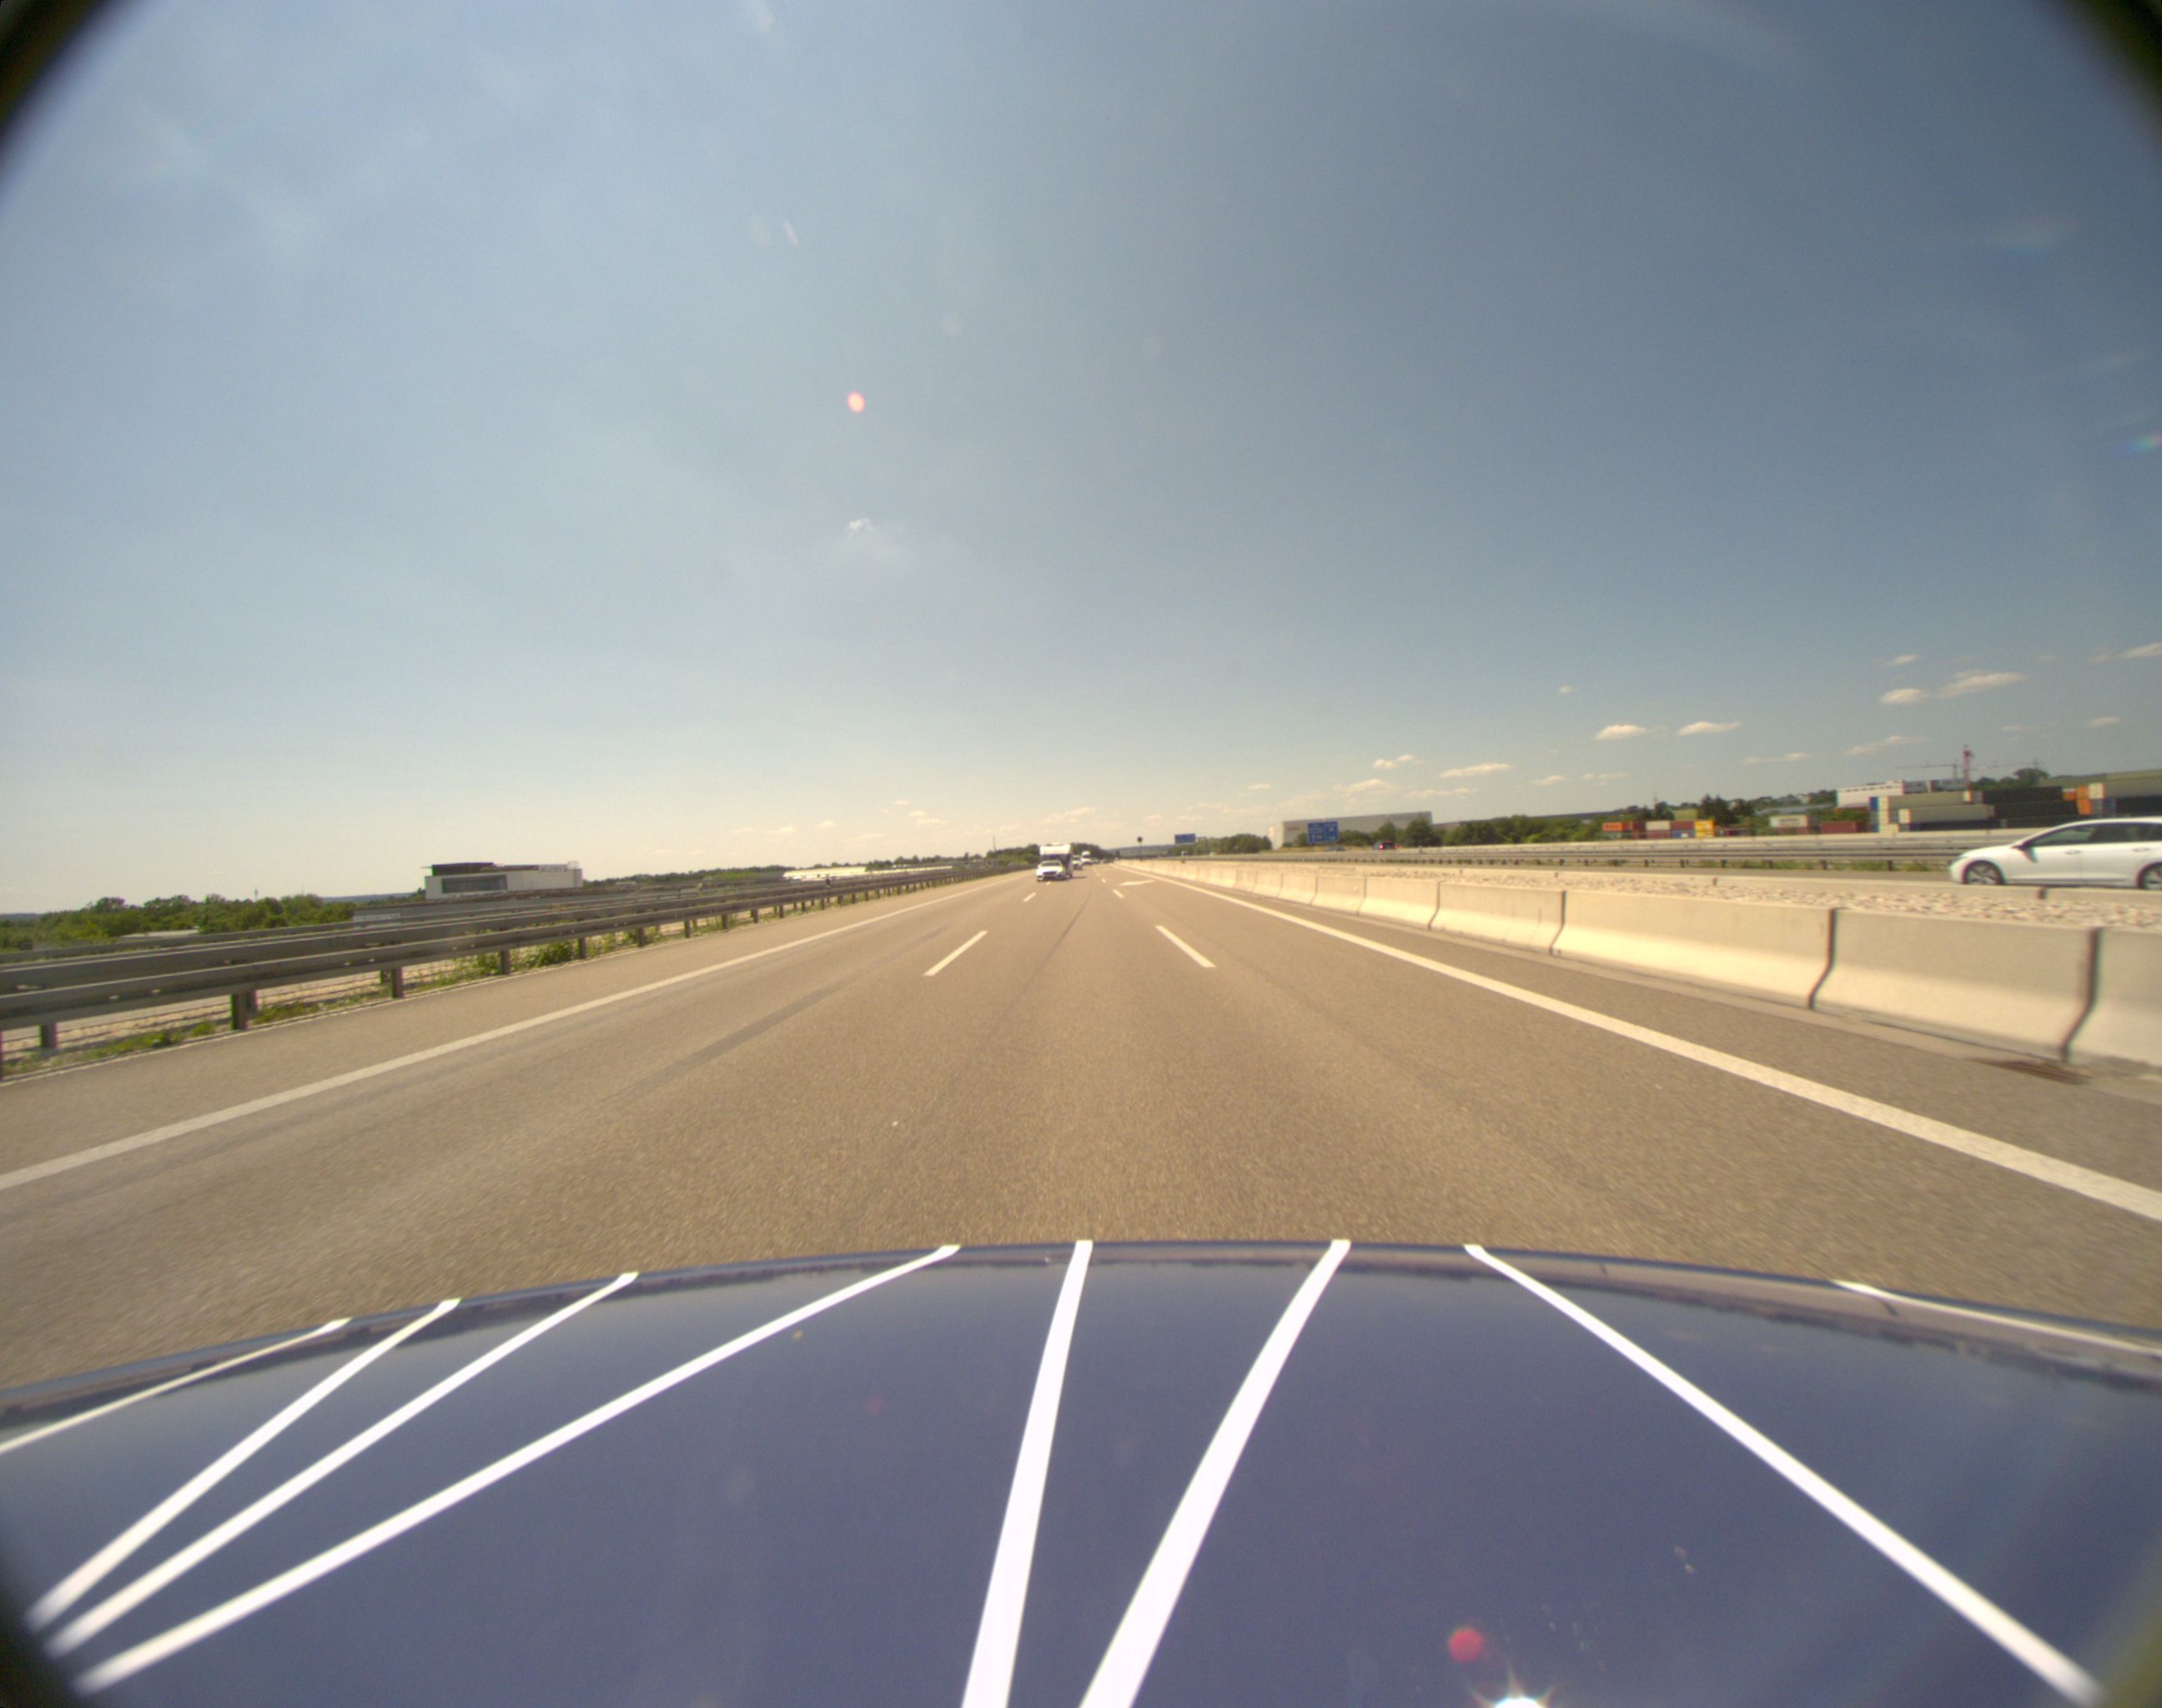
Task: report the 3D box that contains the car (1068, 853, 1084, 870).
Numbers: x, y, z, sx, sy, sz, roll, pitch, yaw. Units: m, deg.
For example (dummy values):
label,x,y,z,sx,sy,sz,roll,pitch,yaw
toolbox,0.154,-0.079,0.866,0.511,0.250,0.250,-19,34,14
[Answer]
label,x,y,z,sx,sy,sz,roll,pitch,yaw
car,-0.622,0.884,96.593,1.999,2.002,3.999,-2,0,0

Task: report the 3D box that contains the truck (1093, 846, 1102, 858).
label,x,y,z,sx,sy,sz,roll,pitch,yaw
truck,4.083,-0.483,188.858,2.168,2.797,6.490,-3,0,2

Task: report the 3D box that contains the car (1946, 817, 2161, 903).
label,x,y,z,sx,sy,sz,roll,pitch,yaw
car,19.310,0.071,13.933,1.814,1.427,4.441,-3,0,0

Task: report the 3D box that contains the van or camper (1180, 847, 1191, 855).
label,x,y,z,sx,sy,sz,roll,pitch,yaw
van or camper,36.029,-1.074,262.703,2.552,2.805,7.542,-2,0,1

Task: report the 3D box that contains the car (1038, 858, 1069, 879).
label,x,y,z,sx,sy,sz,roll,pitch,yaw
car,-1.858,1.005,52.773,1.873,1.352,3.673,-1,0,2

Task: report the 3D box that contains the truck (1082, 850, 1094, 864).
label,x,y,z,sx,sy,sz,roll,pitch,yaw
truck,1.393,0.638,156.078,2.168,2.797,6.489,-3,0,0

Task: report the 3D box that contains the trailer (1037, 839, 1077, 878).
label,x,y,z,sx,sy,sz,roll,pitch,yaw
trailer,-1.755,0.329,58.170,2.500,2.686,7.155,-2,0,2

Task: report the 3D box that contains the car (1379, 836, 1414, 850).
label,x,y,z,sx,sy,sz,roll,pitch,yaw
car,33.654,-1.176,81.177,1.998,1.371,4.363,-2,0,3
